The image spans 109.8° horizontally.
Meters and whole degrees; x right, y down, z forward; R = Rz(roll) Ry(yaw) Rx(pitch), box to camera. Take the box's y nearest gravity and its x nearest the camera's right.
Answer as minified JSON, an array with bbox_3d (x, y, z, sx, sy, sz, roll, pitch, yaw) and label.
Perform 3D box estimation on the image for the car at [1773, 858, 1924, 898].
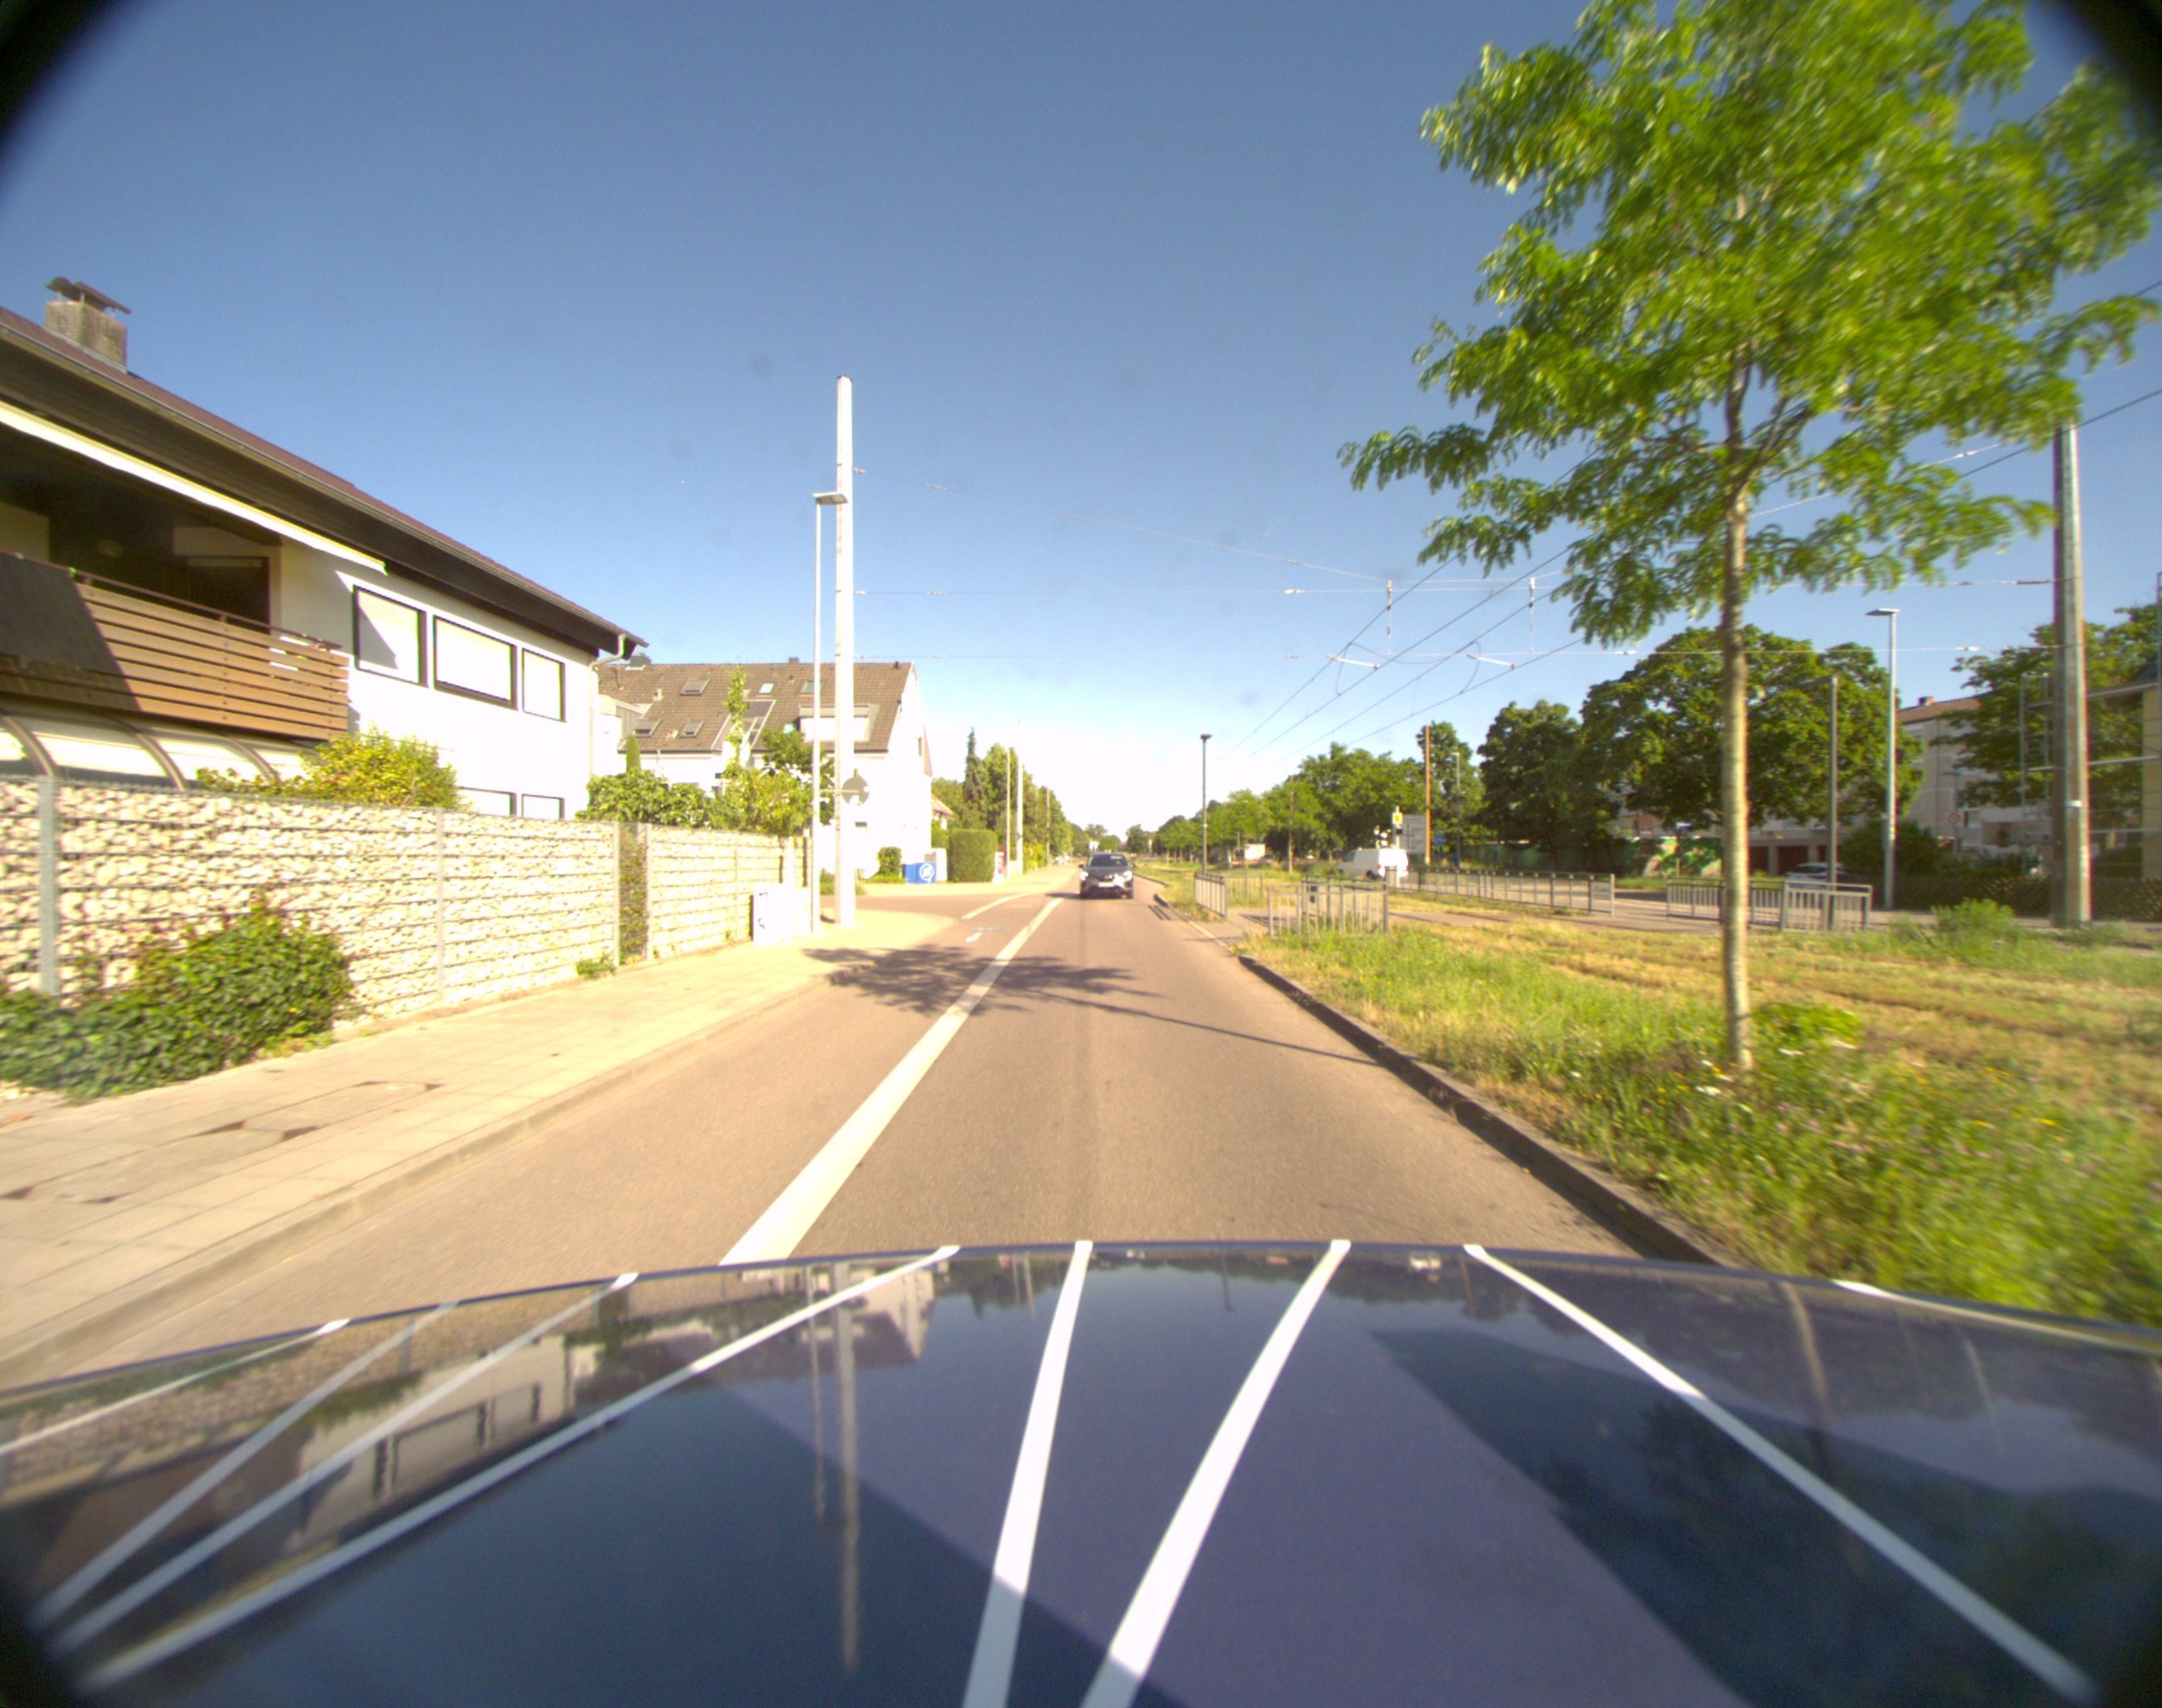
[{"bbox_3d":[29.965,0.918,29.753,3.997,1.396,1.852,0,3,0],"label":"car"}]

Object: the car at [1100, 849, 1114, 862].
[{"bbox_3d":[3.845,0.158,112.234,1.998,1.824,4.000,-2,1,2],"label":"car"}]

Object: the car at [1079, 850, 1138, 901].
[{"bbox_3d":[0.880,0.703,26.778,1.867,1.614,3.999,-1,0,-1],"label":"car"}]

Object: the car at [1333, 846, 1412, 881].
[{"bbox_3d":[16.630,0.521,43.650,1.904,1.903,4.696,0,0,-13],"label":"car"}]

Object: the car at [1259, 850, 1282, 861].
[{"bbox_3d":[31.823,0.249,127.521,1.893,1.899,4.821,-1,-1,41],"label":"car"}]
